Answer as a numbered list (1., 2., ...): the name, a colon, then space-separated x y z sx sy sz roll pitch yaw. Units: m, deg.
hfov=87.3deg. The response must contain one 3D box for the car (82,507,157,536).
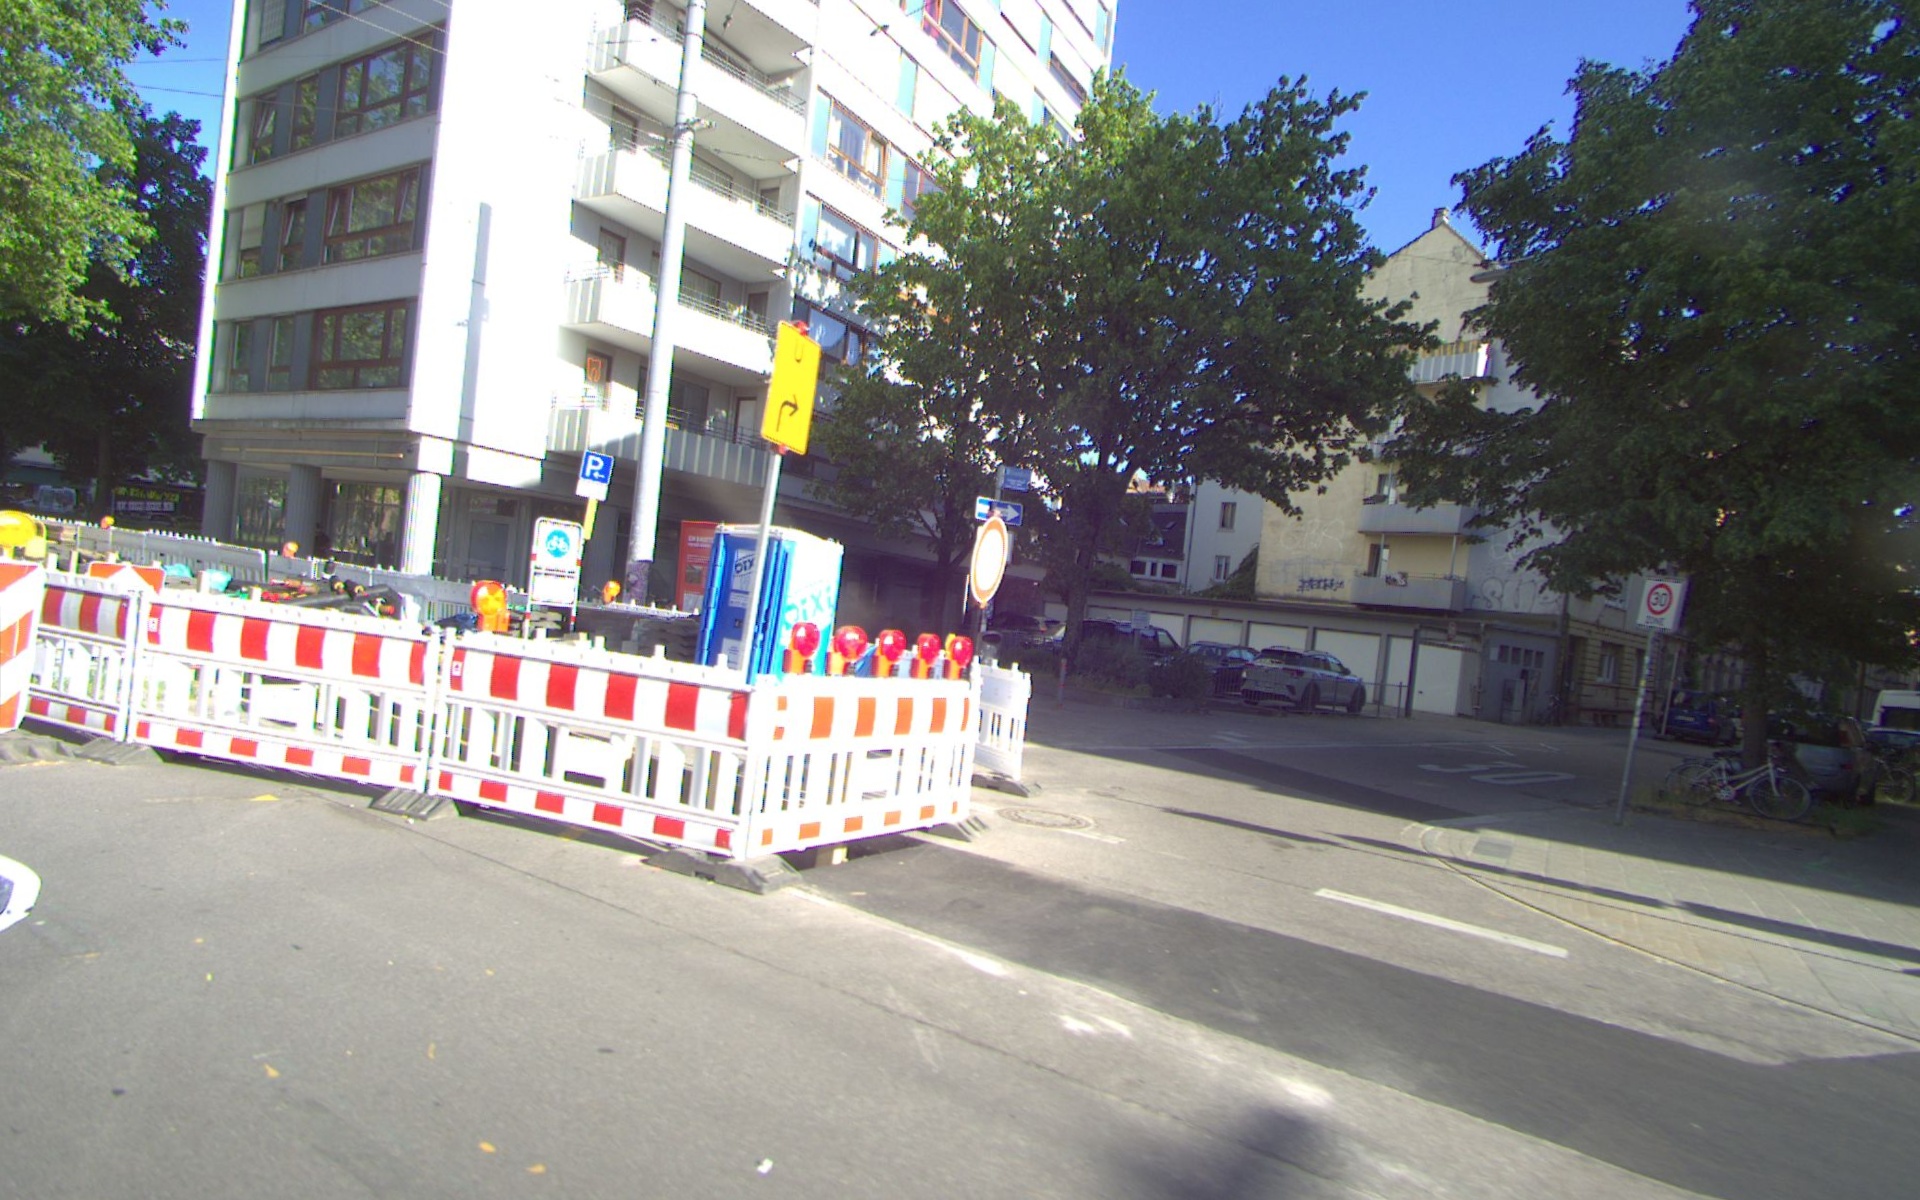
1. car: -65.966 -6.161 78.966 4.366 1.555 1.976 7 -1 -42

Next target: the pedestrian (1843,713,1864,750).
1. pedestrian: 41.287 6.065 46.485 0.509 1.644 0.547 6 1 -44

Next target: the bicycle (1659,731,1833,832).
1. bicycle: 11.055 2.525 14.239 0.364 1.017 1.933 6 0 -21

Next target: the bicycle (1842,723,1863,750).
1. bicycle: 41.257 6.294 46.500 1.647 1.145 0.556 7 0 -45

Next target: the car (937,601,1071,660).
1. car: 1.635 1.147 37.684 4.421 1.657 2.151 6 0 30

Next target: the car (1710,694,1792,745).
1. car: 34.427 5.207 43.727 4.219 1.845 1.976 7 0 -42

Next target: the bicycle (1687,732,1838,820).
1. bicycle: 12.927 2.820 16.245 1.792 1.096 0.369 7 1 18

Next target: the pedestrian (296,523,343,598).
1. pedestrian: -16.754 -1.030 26.316 0.655 1.838 0.690 7 1 32

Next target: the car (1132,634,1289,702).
1. car: 6.928 1.886 27.575 4.250 1.435 2.069 7 -1 -42

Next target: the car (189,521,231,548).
1. car: -55.763 -4.886 74.751 1.987 1.648 4.337 7 0 -43

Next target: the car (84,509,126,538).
1. car: -59.842 -5.384 70.374 1.987 1.690 4.688 7 0 -43

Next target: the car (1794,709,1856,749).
1. car: 48.630 7.249 56.531 4.219 1.845 1.976 7 0 -42

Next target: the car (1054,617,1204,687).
1. car: 5.044 1.563 29.789 4.204 1.624 2.130 7 -1 -42

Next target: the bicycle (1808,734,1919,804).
1. bicycle: 18.296 3.383 20.215 1.803 1.096 0.367 6 0 45

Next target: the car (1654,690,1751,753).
1. car: 26.881 4.384 36.362 4.221 1.845 1.975 7 0 -44

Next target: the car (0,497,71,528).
1. car: -69.744 -6.589 75.516 4.366 1.664 1.976 7 -1 -42

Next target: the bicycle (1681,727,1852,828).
1. bicycle: 11.748 2.566 14.744 0.364 1.095 1.933 6 0 -21

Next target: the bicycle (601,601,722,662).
1. bicycle: -5.945 0.633 20.112 2.019 0.954 1.007 8 -1 -39

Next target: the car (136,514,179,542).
1. car: -58.010 -5.214 72.680 1.987 1.690 4.688 7 0 -43

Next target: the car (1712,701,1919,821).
1. car: 15.745 2.909 18.408 4.212 1.662 1.979 7 0 -37

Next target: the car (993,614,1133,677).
1. car: 3.335 1.463 31.976 4.466 1.541 1.819 7 -1 -42

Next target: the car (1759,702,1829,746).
1. car: 42.154 6.262 50.820 4.219 1.845 1.976 7 0 -42

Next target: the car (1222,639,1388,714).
1. car: 8.999 2.000 26.088 4.343 1.504 1.969 7 0 -39

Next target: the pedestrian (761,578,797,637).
1. pedestrian: -6.089 0.247 33.829 0.667 1.875 0.656 6 -2 34

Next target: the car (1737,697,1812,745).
1. car: 38.486 5.726 47.489 4.219 1.845 1.976 7 0 -42

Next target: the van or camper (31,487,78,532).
1. van or camper: -61.797 -6.165 68.739 2.139 2.669 5.522 6 0 -42
